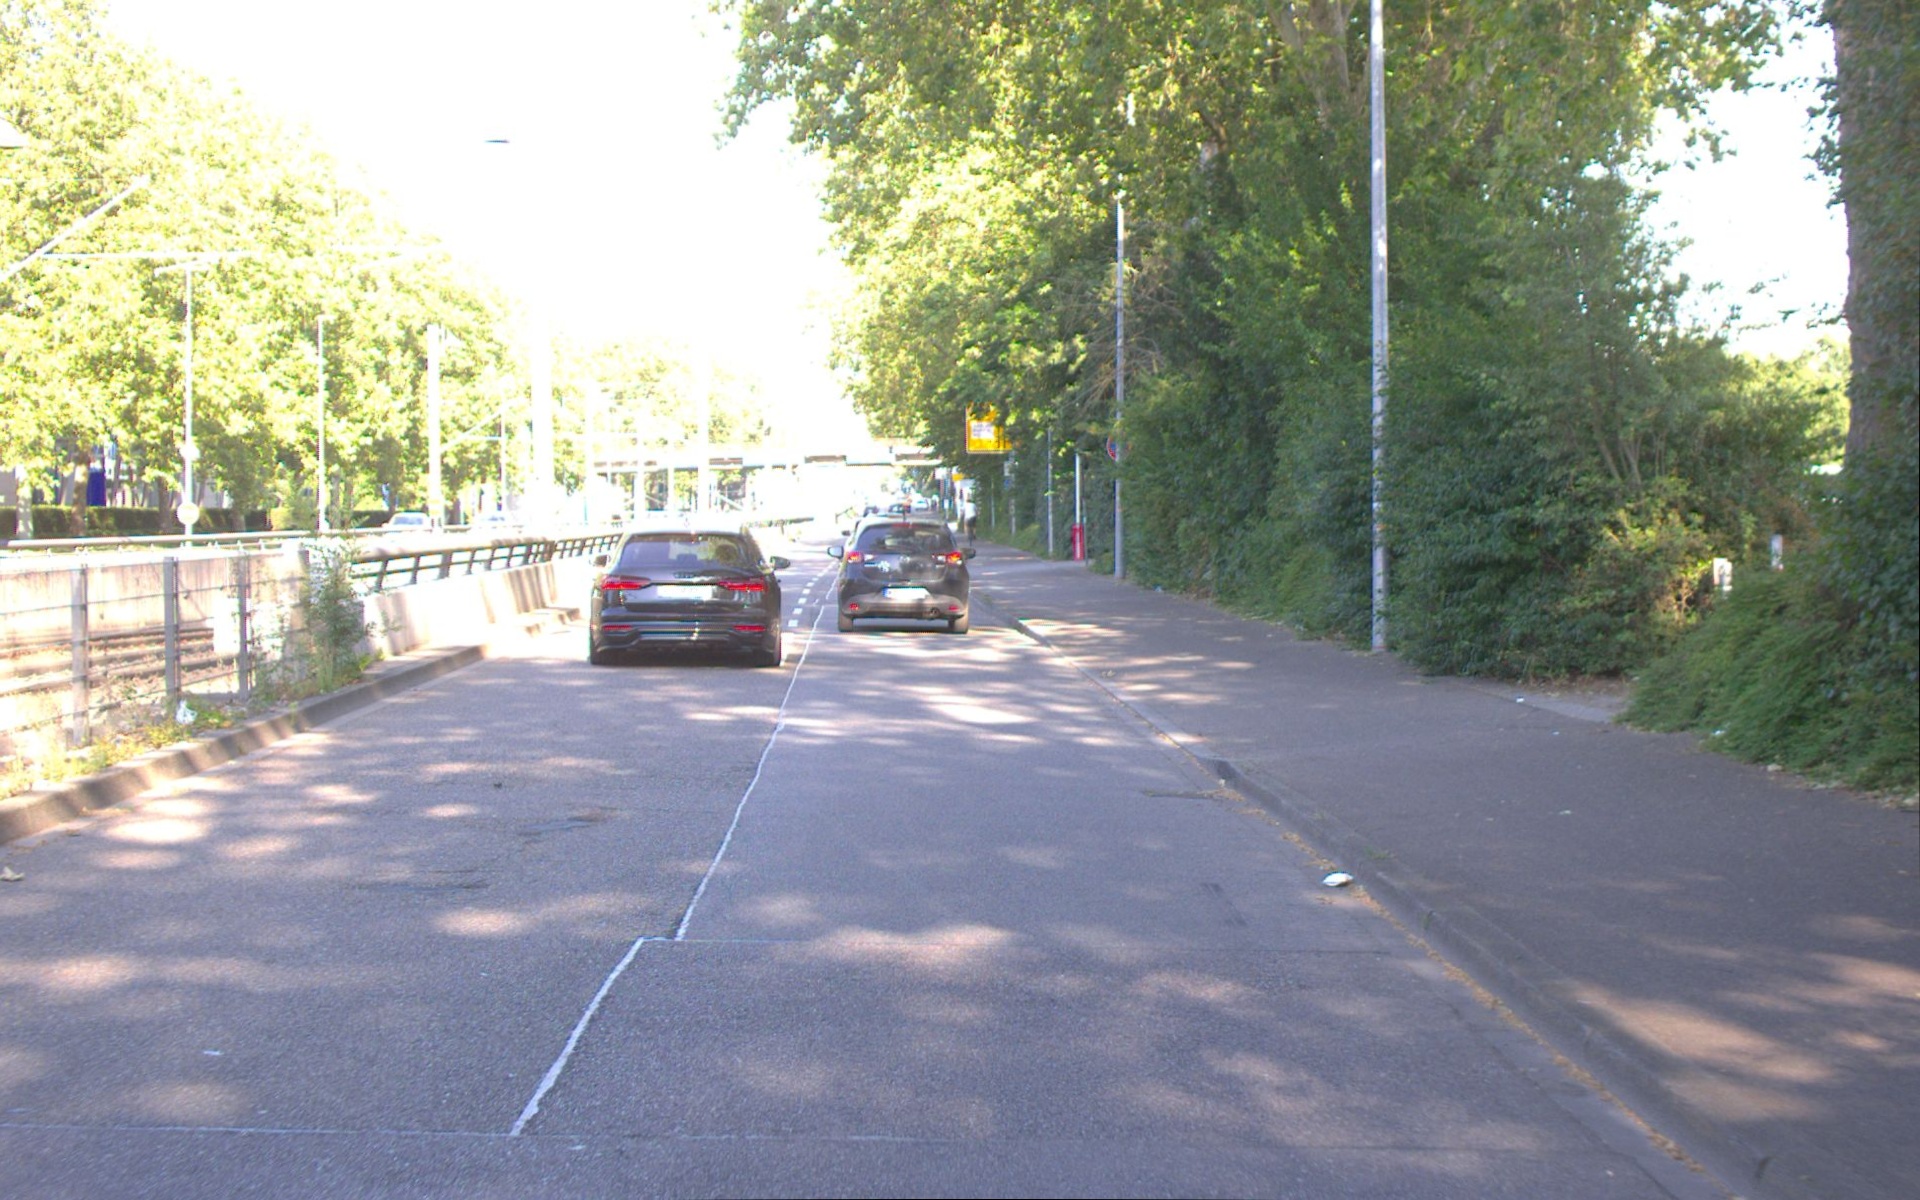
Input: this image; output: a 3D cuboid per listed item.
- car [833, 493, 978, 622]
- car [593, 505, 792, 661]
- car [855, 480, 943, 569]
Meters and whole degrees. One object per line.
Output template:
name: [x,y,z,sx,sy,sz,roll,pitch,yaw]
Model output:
car: [-0.763,-0.598,45.330,1.762,1.613,4.001,-1,2,-3]
car: [-2.643,-0.209,34.498,1.878,1.452,3.357,-1,2,-3]
car: [-1.410,-1.787,80.750,1.993,2.006,4.000,0,2,-1]
